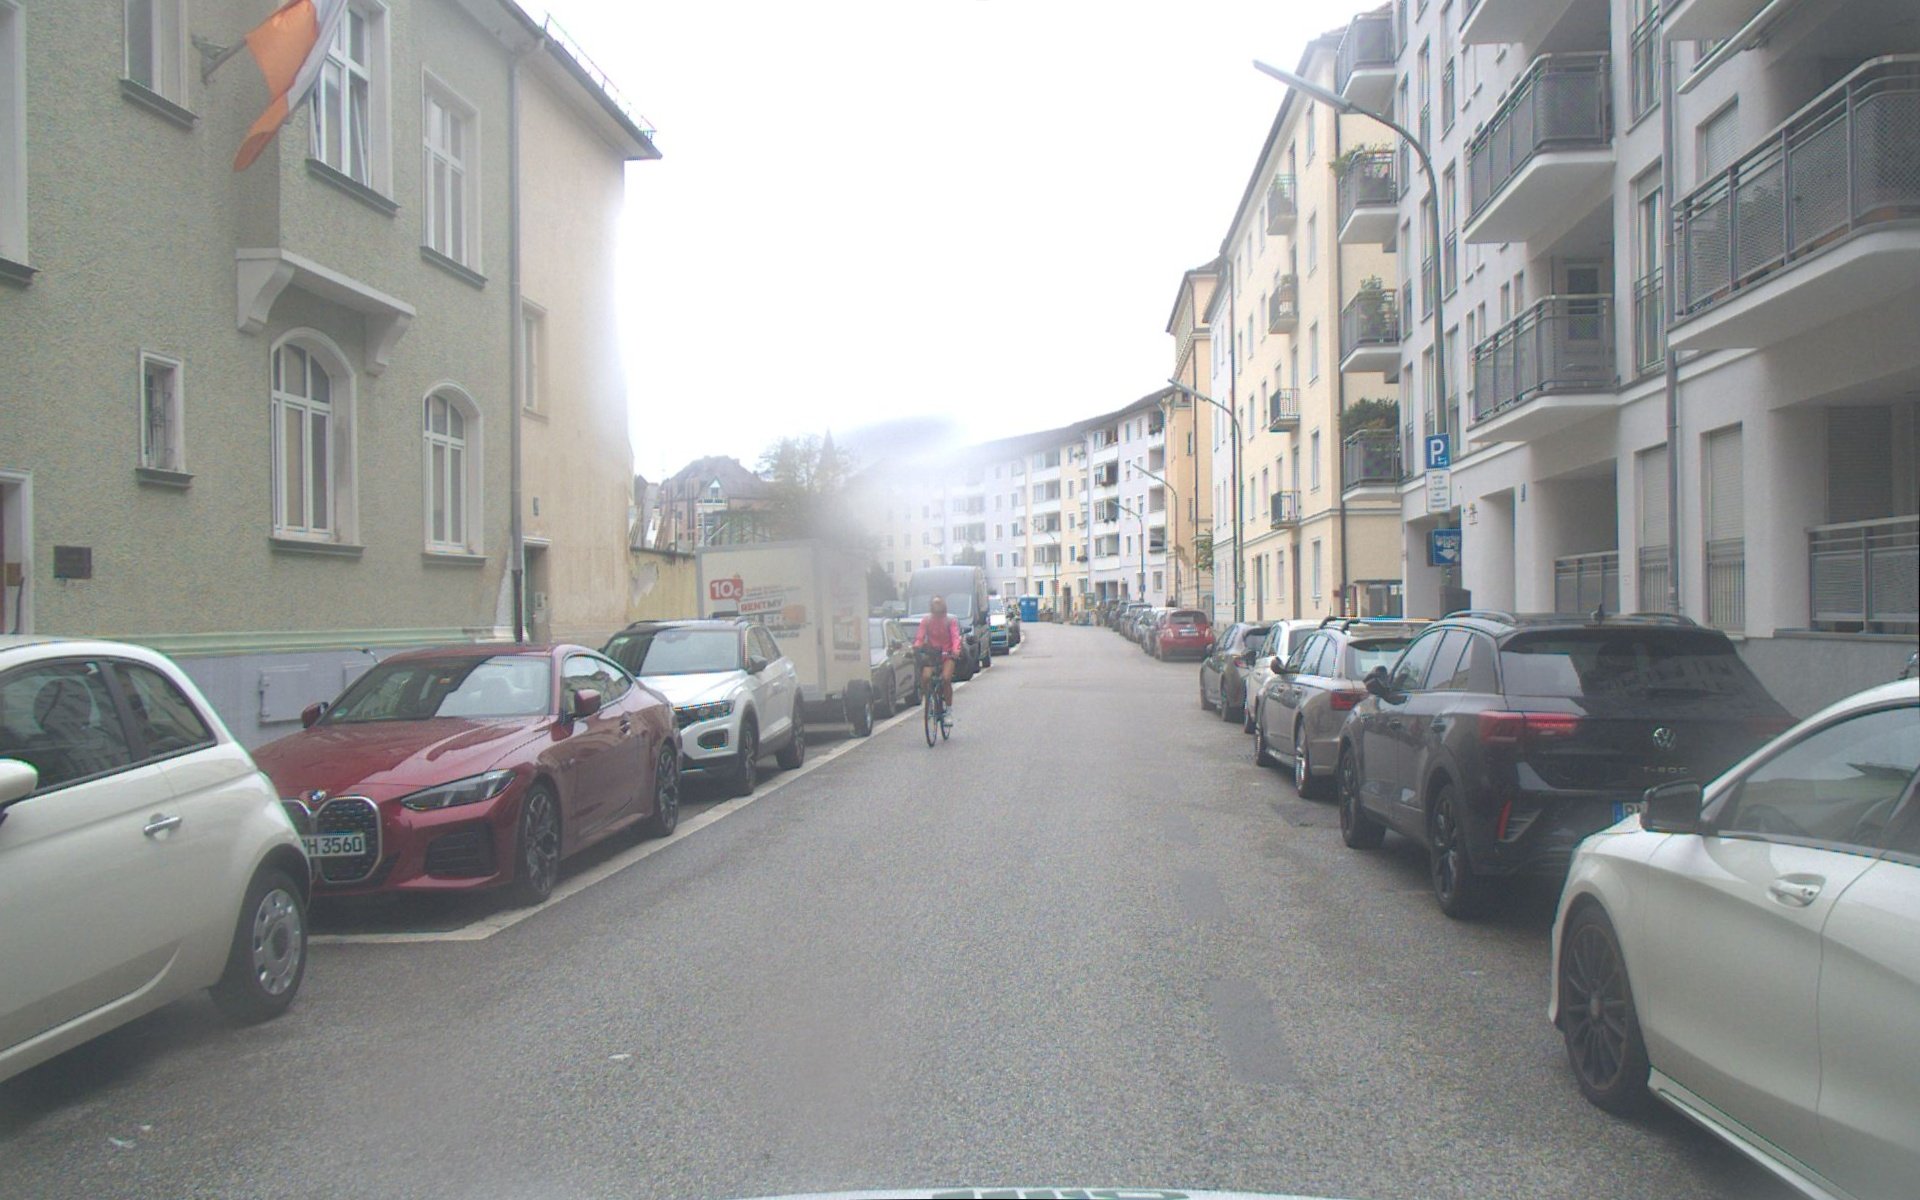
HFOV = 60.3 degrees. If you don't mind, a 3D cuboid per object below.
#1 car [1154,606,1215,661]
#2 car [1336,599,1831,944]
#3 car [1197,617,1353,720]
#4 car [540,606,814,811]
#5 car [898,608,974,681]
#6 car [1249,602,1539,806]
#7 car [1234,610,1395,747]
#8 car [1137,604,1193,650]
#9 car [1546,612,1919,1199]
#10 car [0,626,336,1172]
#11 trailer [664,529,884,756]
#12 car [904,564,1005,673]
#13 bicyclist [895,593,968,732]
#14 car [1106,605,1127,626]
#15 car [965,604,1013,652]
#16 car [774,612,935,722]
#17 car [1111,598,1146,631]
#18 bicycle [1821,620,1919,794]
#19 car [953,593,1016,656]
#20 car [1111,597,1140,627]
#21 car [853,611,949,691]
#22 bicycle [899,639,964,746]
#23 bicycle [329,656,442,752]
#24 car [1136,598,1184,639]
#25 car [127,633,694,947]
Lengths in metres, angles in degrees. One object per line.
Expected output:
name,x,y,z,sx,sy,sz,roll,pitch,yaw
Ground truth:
car,6.625,0.952,49.051,1.562,1.535,3.803,-1,0,5
car,3.362,0.806,9.718,1.570,1.557,3.986,2,0,3
car,4.712,0.986,25.285,1.726,1.432,4.079,0,-1,2
car,-2.544,0.915,15.791,1.651,1.631,3.923,-3,0,4
car,-0.527,1.000,38.350,1.553,1.565,3.544,-2,0,2
car,3.829,0.830,15.380,1.698,1.557,4.623,2,0,3
car,4.398,0.922,20.931,1.487,1.557,3.528,1,0,4
car,7.332,0.939,59.408,1.657,1.517,4.285,-1,1,3
car,2.725,0.789,3.555,1.623,1.465,4.208,2,0,3
car,-3.379,0.872,5.123,1.442,1.492,3.315,-2,0,3
trailer,-2.224,0.486,20.983,1.673,2.504,4.390,-3,0,7
car,-0.060,0.440,43.513,2.044,2.682,5.380,-1,0,6
bicyclist,-0.328,0.724,19.642,0.679,1.589,0.967,-2,0,7
car,10.039,0.969,106.169,1.245,1.321,2.798,0,0,3
car,1.172,1.071,65.366,1.666,1.720,4.030,-3,0,3
car,-1.600,1.015,26.806,1.729,1.565,4.544,-3,-1,7
car,8.561,0.728,84.188,1.557,1.610,4.301,1,0,3
bicycle,6.974,0.750,11.795,0.614,1.180,2.128,-1,0,3
car,0.869,0.787,56.107,1.843,1.965,4.603,-3,0,3
car,9.424,0.669,94.208,1.443,1.669,4.002,1,0,3
car,-1.132,0.980,33.299,1.665,1.471,3.826,0,0,2
bicycle,-0.323,1.070,19.598,0.493,1.148,1.774,-2,0,7
bicycle,-6.366,1.130,18.415,0.511,0.922,1.929,2,0,1
car,7.828,0.699,64.854,1.565,1.517,3.800,-1,0,2
car,-3.049,0.978,10.266,1.822,1.437,4.335,-3,-1,3
